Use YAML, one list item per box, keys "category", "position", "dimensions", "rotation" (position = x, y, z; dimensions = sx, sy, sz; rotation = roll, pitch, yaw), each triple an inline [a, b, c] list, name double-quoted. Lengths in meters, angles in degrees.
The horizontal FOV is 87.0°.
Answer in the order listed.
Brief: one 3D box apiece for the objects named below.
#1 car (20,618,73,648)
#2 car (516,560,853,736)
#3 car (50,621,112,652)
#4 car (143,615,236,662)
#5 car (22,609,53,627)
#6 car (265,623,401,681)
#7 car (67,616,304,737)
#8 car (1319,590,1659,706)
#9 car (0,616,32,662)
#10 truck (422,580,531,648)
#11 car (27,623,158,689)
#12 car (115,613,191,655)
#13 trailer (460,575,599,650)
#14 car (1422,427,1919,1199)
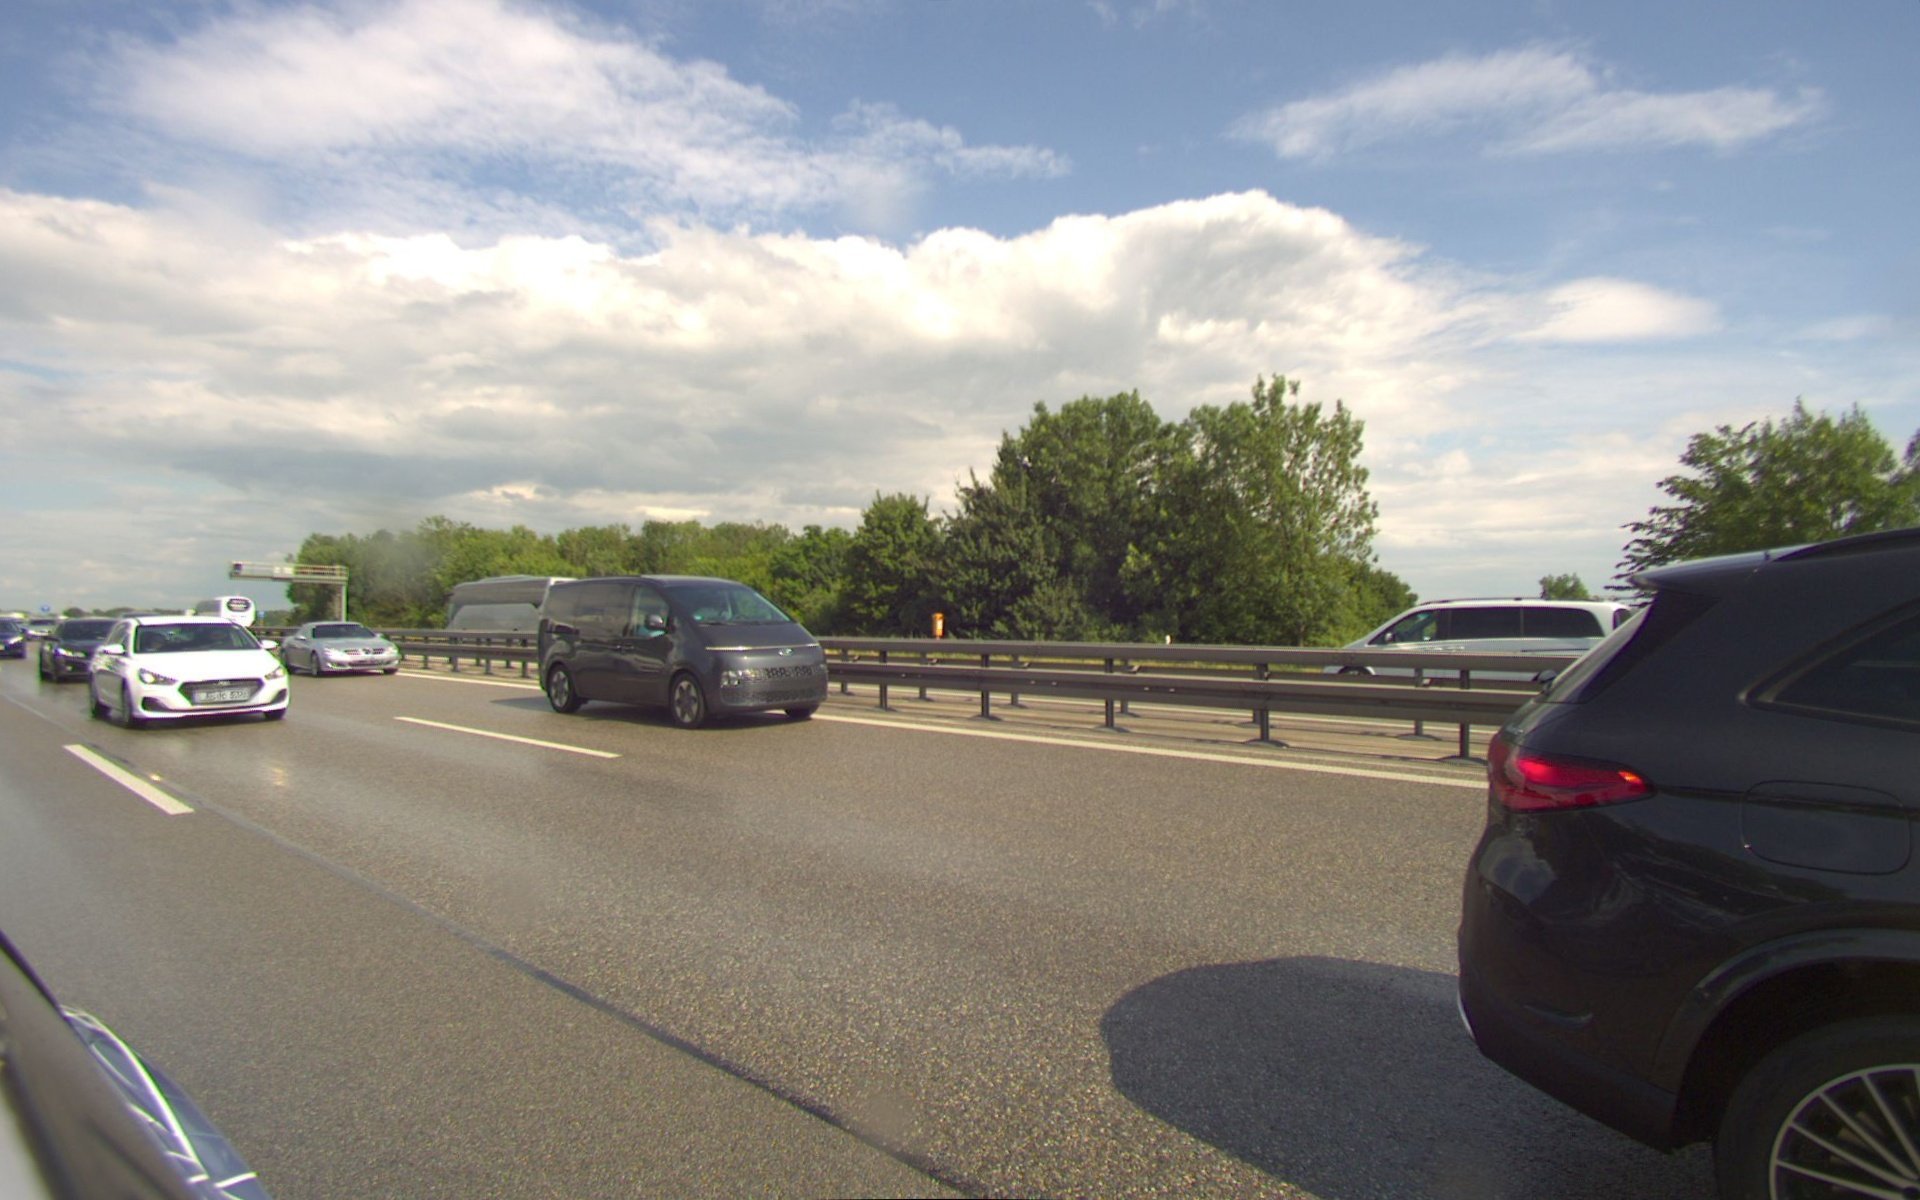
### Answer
- category: "car"
  position: [-57.746, 2.054, 63.961]
  dimensions: [3.998, 1.761, 1.973]
  rotation: [0, 1, 41]
- category: "car"
  position: [-4.008, 0.596, 14.114]
  dimensions: [5.267, 2.029, 1.973]
  rotation: [-1, -1, 41]
- category: "car"
  position: [-43.188, 1.742, 49.720]
  dimensions: [3.998, 1.389, 1.748]
  rotation: [0, -1, 41]
- category: "car"
  position: [-25.629, 1.219, 33.629]
  dimensions: [4.138, 1.436, 1.748]
  rotation: [-1, 0, 42]
- category: "car"
  position: [-95.053, 1.840, 104.249]
  dimensions: [4.459, 1.792, 1.972]
  rotation: [-1, -1, 42]
- category: "car"
  position: [-15.244, 1.206, 24.539]
  dimensions: [4.061, 1.288, 1.706]
  rotation: [-1, -1, 41]
- category: "car"
  position: [-11.258, 0.980, 14.590]
  dimensions: [4.546, 1.466, 1.862]
  rotation: [-1, -1, 41]
- category: "car"
  position: [9.082, 0.770, 17.677]
  dimensions: [4.943, 1.747, 1.973]
  rotation: [-1, -1, 41]
- category: "car"
  position: [-34.115, 1.352, 35.408]
  dimensions: [3.998, 1.497, 1.973]
  rotation: [0, 1, 41]
- category: "truck"
  position: [-26.181, 0.764, 54.620]
  dimensions: [7.592, 3.407, 2.700]
  rotation: [-1, -1, 43]
- category: "car"
  position: [-19.914, 1.212, 23.176]
  dimensions: [4.285, 1.348, 1.706]
  rotation: [-1, -1, 41]
- category: "car"
  position: [-33.512, 1.379, 41.997]
  dimensions: [4.228, 1.618, 1.850]
  rotation: [-1, -1, 42]
- category: "trailer"
  position: [-21.601, 0.655, 50.377]
  dimensions: [9.560, 3.407, 2.700]
  rotation: [-1, -1, 43]
- category: "car"
  position: [3.332, 0.530, 1.554]
  dimensions: [4.404, 1.674, 1.973]
  rotation: [-1, -1, 41]
